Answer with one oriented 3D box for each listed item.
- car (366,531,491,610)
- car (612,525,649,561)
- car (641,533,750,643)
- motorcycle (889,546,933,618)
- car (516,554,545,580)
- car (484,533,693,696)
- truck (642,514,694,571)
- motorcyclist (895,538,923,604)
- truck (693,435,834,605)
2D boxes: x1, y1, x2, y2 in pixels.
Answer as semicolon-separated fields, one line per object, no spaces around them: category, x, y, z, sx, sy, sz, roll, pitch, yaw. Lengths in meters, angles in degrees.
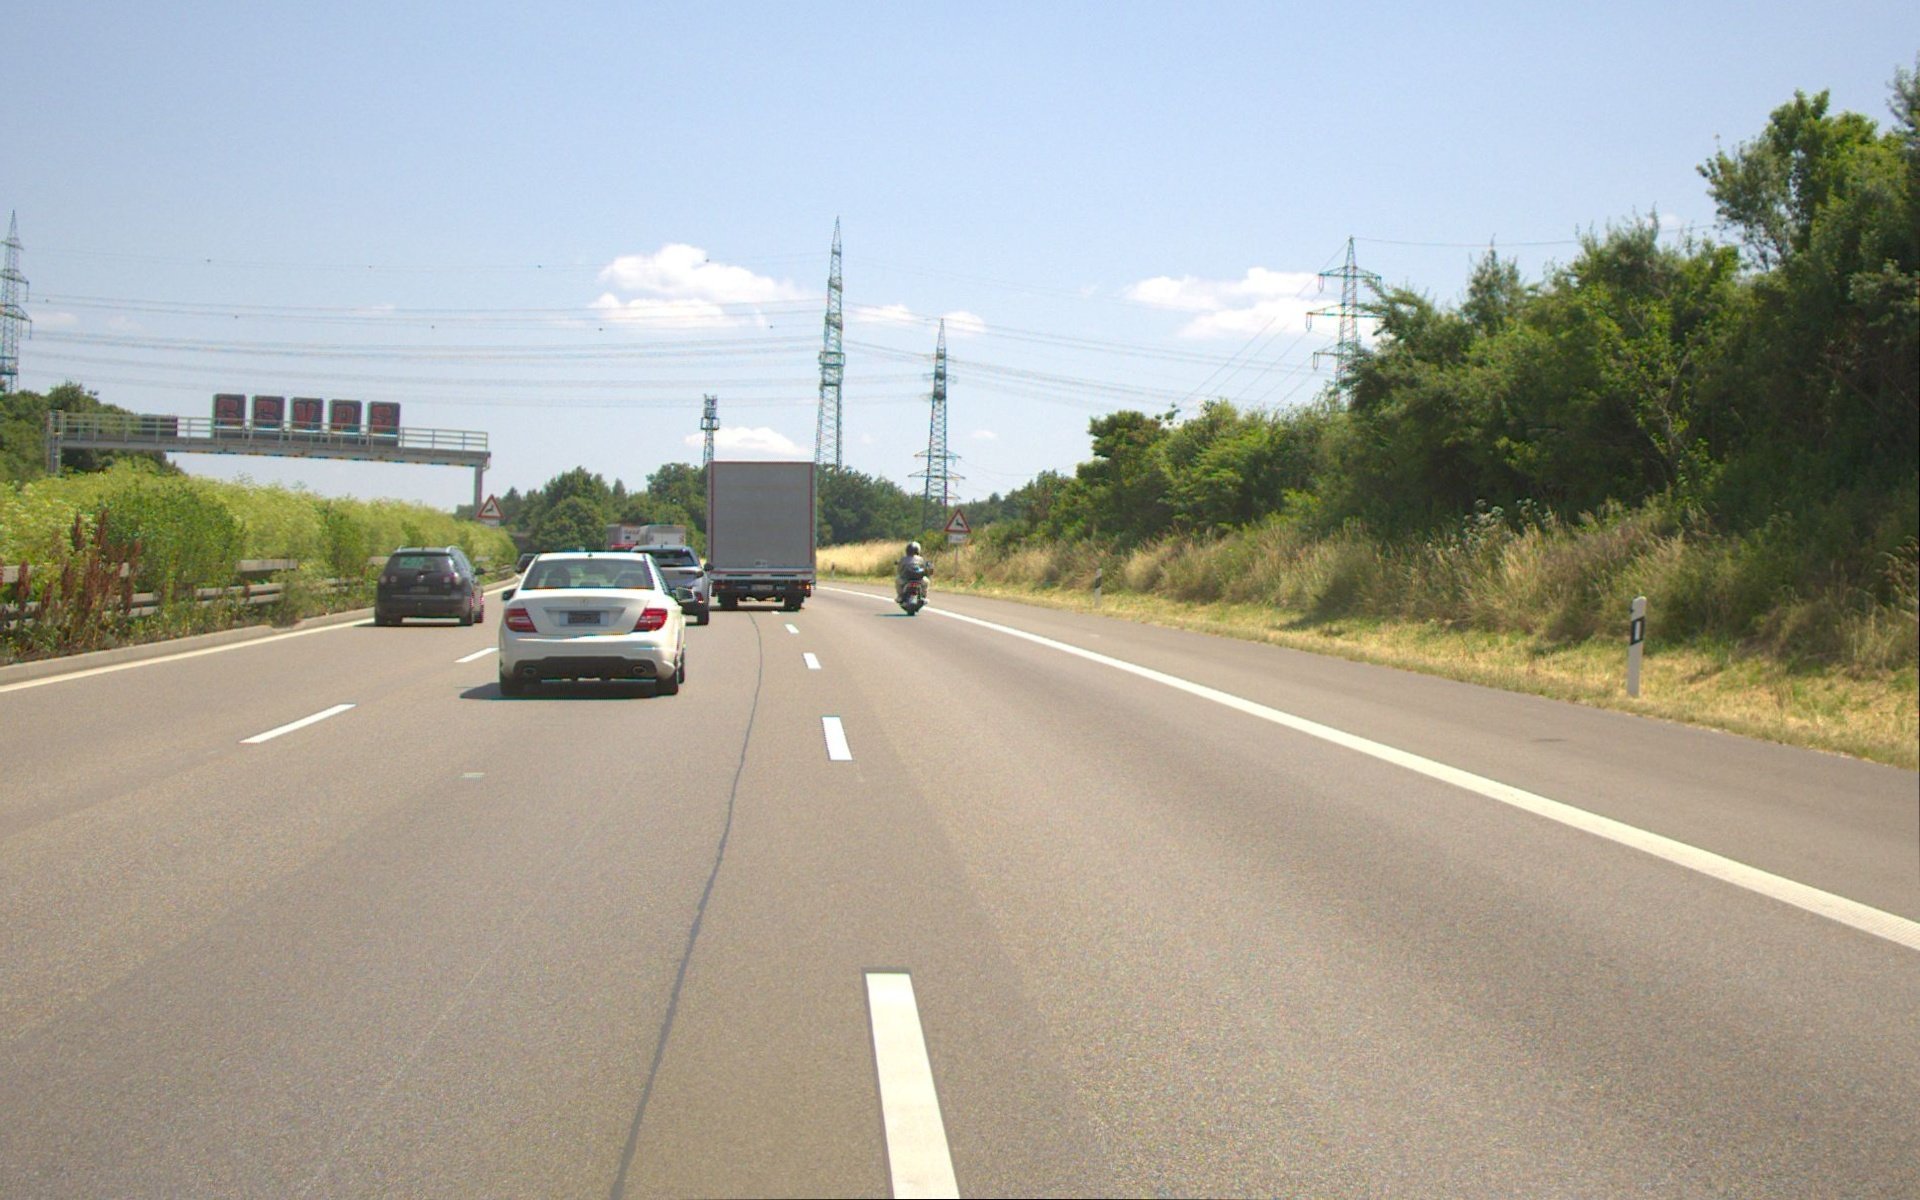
car;-9.896;-0.579;64.272;1.756;1.424;4.000;0;1;-1
car;-17.798;-3.107;185.852;1.901;1.919;4.001;0;1;-4
car;-5.084;-0.263;65.665;1.993;2.007;4.001;0;1;-5
motorcycle;-1.116;-0.405;77.416;0.809;1.602;1.783;0;1;-6
car;-31.397;-2.440;251.217;1.993;1.853;4.001;0;1;-6
car;-3.700;0.101;34.789;1.819;1.535;3.915;0;1;-2
truck;-20.564;-4.026;241.816;3.483;3.899;7.291;0;1;-6
motorcyclist;-1.145;-0.649;77.430;0.572;1.474;0.701;0;1;-7
truck;-4.804;-1.899;84.248;3.221;3.911;9.062;1;1;-3
